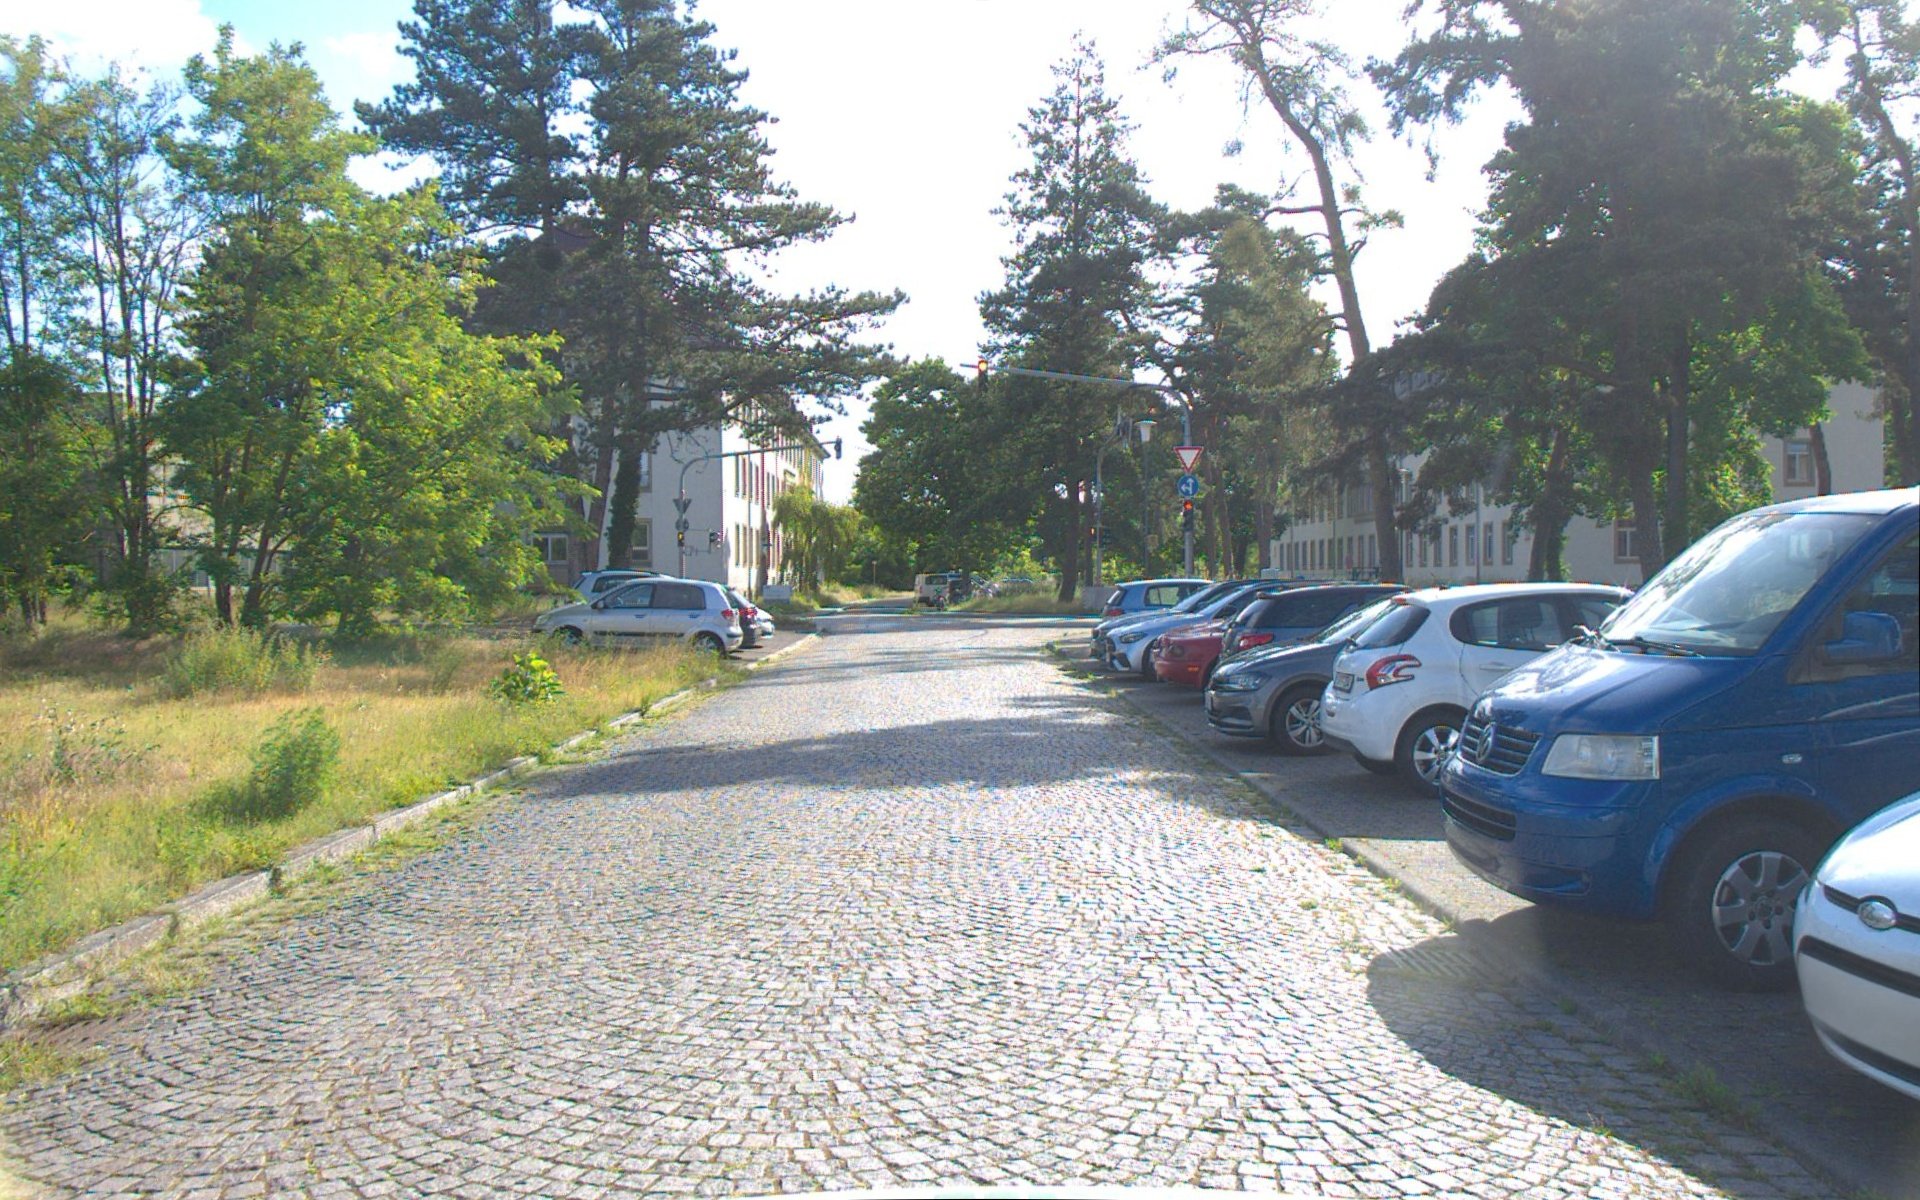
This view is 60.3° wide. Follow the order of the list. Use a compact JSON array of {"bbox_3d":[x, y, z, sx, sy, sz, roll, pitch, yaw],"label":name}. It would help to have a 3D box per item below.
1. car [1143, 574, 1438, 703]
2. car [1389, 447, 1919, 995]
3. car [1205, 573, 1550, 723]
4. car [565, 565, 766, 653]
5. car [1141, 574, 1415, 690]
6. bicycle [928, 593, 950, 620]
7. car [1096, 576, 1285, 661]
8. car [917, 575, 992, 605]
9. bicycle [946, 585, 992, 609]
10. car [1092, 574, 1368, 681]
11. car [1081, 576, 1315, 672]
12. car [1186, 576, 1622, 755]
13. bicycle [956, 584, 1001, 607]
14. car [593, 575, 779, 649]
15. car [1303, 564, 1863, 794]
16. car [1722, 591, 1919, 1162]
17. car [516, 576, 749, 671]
[{"bbox_3d":[4.150,0.458,21.097,3.408,1.556,1.645,-1,1,-2],"label":"car"},{"bbox_3d":[4.503,0.419,7.406,4.584,2.049,2.082,-1,1,-4],"label":"car"},{"bbox_3d":[4.568,0.493,18.413,3.408,1.556,1.645,-1,1,-2],"label":"car"},{"bbox_3d":[-6.243,0.181,35.467,3.907,1.629,2.000,3,1,-2],"label":"car"},{"bbox_3d":[4.449,0.424,23.460,3.530,1.556,1.645,-1,1,-2],"label":"car"},{"bbox_3d":[-0.975,0.276,76.489,0.789,1.190,2.177,-2,1,-7],"label":"bicycle"},{"bbox_3d":[4.290,0.324,31.051,3.276,1.508,1.645,-1,1,-2],"label":"car"},{"bbox_3d":[-0.337,-0.596,97.429,4.390,1.758,2.000,0,1,-2],"label":"car"},{"bbox_3d":[0.439,-0.150,79.974,2.134,1.119,0.805,0,1,-11],"label":"bicycle"},{"bbox_3d":[4.131,0.397,25.636,3.955,1.556,1.644,-1,1,-5],"label":"car"},{"bbox_3d":[4.036,0.384,28.406,3.758,1.556,1.645,-1,1,-2],"label":"car"},{"bbox_3d":[4.059,0.567,15.485,3.601,1.492,1.645,-1,1,-2],"label":"car"},{"bbox_3d":[0.906,-0.243,81.091,2.134,1.119,0.805,0,1,-11],"label":"bicycle"},{"bbox_3d":[-6.212,0.252,37.869,3.906,1.478,2.000,3,1,-2],"label":"car"},{"bbox_3d":[4.612,0.552,12.607,3.619,1.491,1.645,-2,1,0],"label":"car"},{"bbox_3d":[4.383,0.716,4.747,3.645,1.514,1.644,-1,1,-3],"label":"car"},{"bbox_3d":[-5.879,0.396,30.085,3.908,1.628,1.999,-1,1,-4],"label":"car"}]
